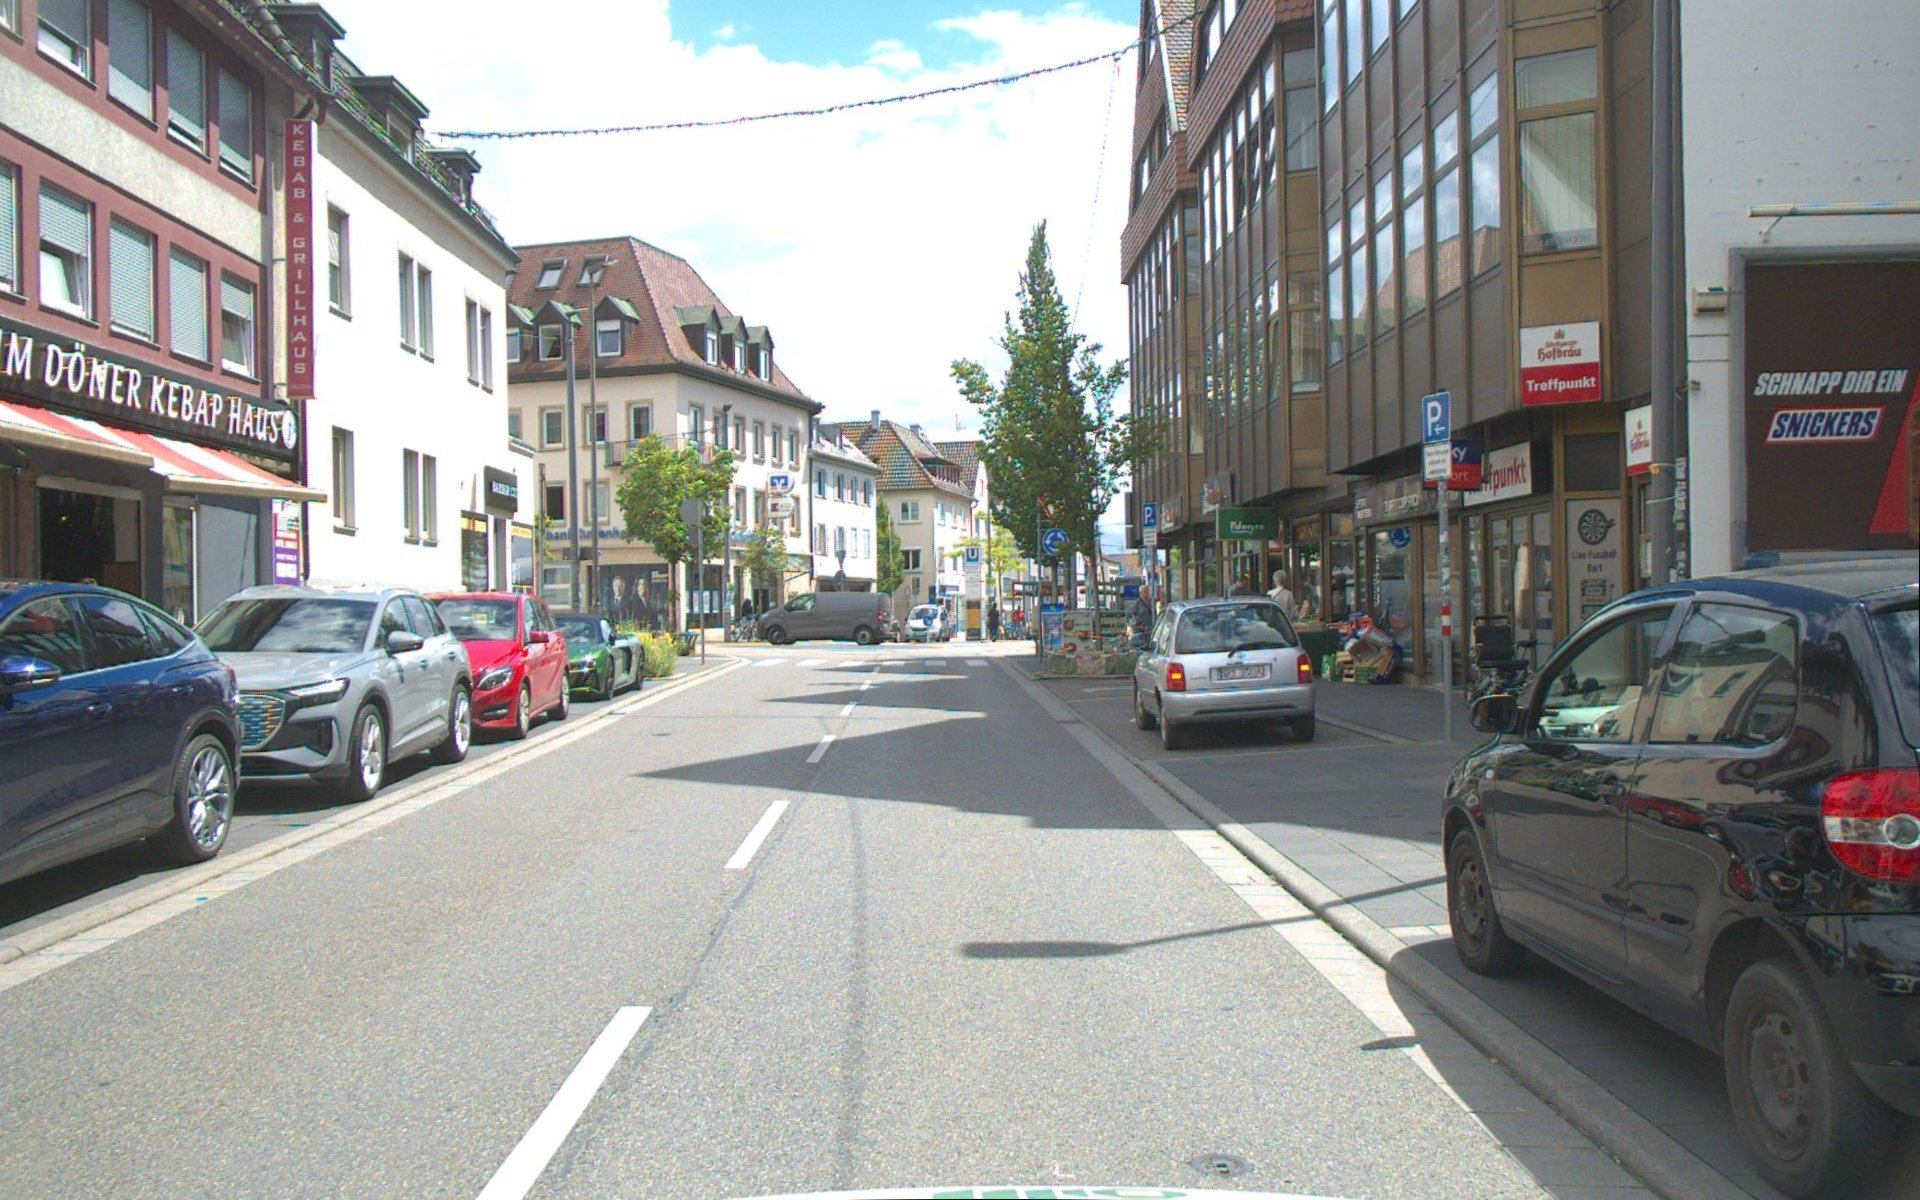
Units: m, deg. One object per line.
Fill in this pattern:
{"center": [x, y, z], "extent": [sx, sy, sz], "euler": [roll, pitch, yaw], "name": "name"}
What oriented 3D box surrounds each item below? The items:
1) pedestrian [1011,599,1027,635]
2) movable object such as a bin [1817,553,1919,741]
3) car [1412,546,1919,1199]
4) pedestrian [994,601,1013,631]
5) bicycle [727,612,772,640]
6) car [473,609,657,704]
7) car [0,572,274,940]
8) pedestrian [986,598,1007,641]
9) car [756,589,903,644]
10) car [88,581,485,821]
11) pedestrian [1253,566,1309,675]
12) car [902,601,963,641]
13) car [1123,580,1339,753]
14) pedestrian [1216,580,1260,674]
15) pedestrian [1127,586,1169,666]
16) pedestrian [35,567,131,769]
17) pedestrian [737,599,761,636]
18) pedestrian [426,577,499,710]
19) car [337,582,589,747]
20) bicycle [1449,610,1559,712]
{"center": [2.951, 0.846, 82.701], "extent": [0.712, 1.794, 0.749], "euler": [0, 0, 9], "name": "pedestrian"}
{"center": [8.178, 0.395, 14.196], "extent": [1.118, 1.554, 1.032], "euler": [0, -1, 1], "name": "movable object such as a bin"}
{"center": [2.807, 0.630, 5.434], "extent": [1.576, 1.559, 3.795], "euler": [-2, 0, 0], "name": "car"}
{"center": [2.327, 0.859, 88.262], "extent": [0.739, 1.607, 0.721], "euler": [0, 0, -32], "name": "pedestrian"}
{"center": [-8.128, 1.008, 63.846], "extent": [1.597, 1.049, 0.568], "euler": [0, -1, 14], "name": "bicycle"}
{"center": [-5.921, 0.798, 25.325], "extent": [1.782, 1.245, 4.522], "euler": [1, 0, -1], "name": "car"}
{"center": [-5.135, 0.690, 8.113], "extent": [1.763, 1.626, 4.388], "euler": [0, 0, -1], "name": "car"}
{"center": [1.500, 0.809, 67.981], "extent": [0.851, 1.738, 0.531], "euler": [0, -1, 2], "name": "pedestrian"}
{"center": [-4.632, 0.584, 59.123], "extent": [4.876, 1.881, 2.049], "euler": [0, -1, 10], "name": "car"}
{"center": [-5.316, 0.692, 13.718], "extent": [1.764, 1.632, 4.347], "euler": [-1, 0, -4], "name": "car"}
{"center": [5.197, 0.327, 26.774], "extent": [0.647, 1.736, 0.642], "euler": [1, -1, -25], "name": "pedestrian"}
{"center": [-1.227, 0.955, 74.928], "extent": [1.951, 1.719, 4.003], "euler": [0, -1, 11], "name": "car"}
{"center": [2.745, 0.619, 17.501], "extent": [1.577, 1.520, 3.795], "euler": [-4, 0, 0], "name": "car"}
{"center": [5.498, 0.534, 32.749], "extent": [0.722, 1.846, 0.711], "euler": [1, -1, -1], "name": "pedestrian"}
{"center": [3.940, 0.548, 34.775], "extent": [0.768, 1.644, 0.800], "euler": [1, -1, -1], "name": "pedestrian"}
{"center": [-7.423, 0.567, 14.021], "extent": [0.491, 1.677, 0.574], "euler": [1, -1, -2], "name": "pedestrian"}
{"center": [-8.852, 0.726, 69.384], "extent": [0.613, 1.559, 0.858], "euler": [0, -1, 23], "name": "pedestrian"}
{"center": [-6.426, 0.558, 21.380], "extent": [0.672, 1.677, 0.779], "euler": [0, -1, 1], "name": "pedestrian"}
{"center": [-5.511, 0.642, 18.885], "extent": [1.763, 1.632, 4.216], "euler": [-1, 0, -3], "name": "car"}
{"center": [5.956, 0.652, 18.187], "extent": [0.705, 1.066, 1.476], "euler": [1, -1, -1], "name": "bicycle"}
